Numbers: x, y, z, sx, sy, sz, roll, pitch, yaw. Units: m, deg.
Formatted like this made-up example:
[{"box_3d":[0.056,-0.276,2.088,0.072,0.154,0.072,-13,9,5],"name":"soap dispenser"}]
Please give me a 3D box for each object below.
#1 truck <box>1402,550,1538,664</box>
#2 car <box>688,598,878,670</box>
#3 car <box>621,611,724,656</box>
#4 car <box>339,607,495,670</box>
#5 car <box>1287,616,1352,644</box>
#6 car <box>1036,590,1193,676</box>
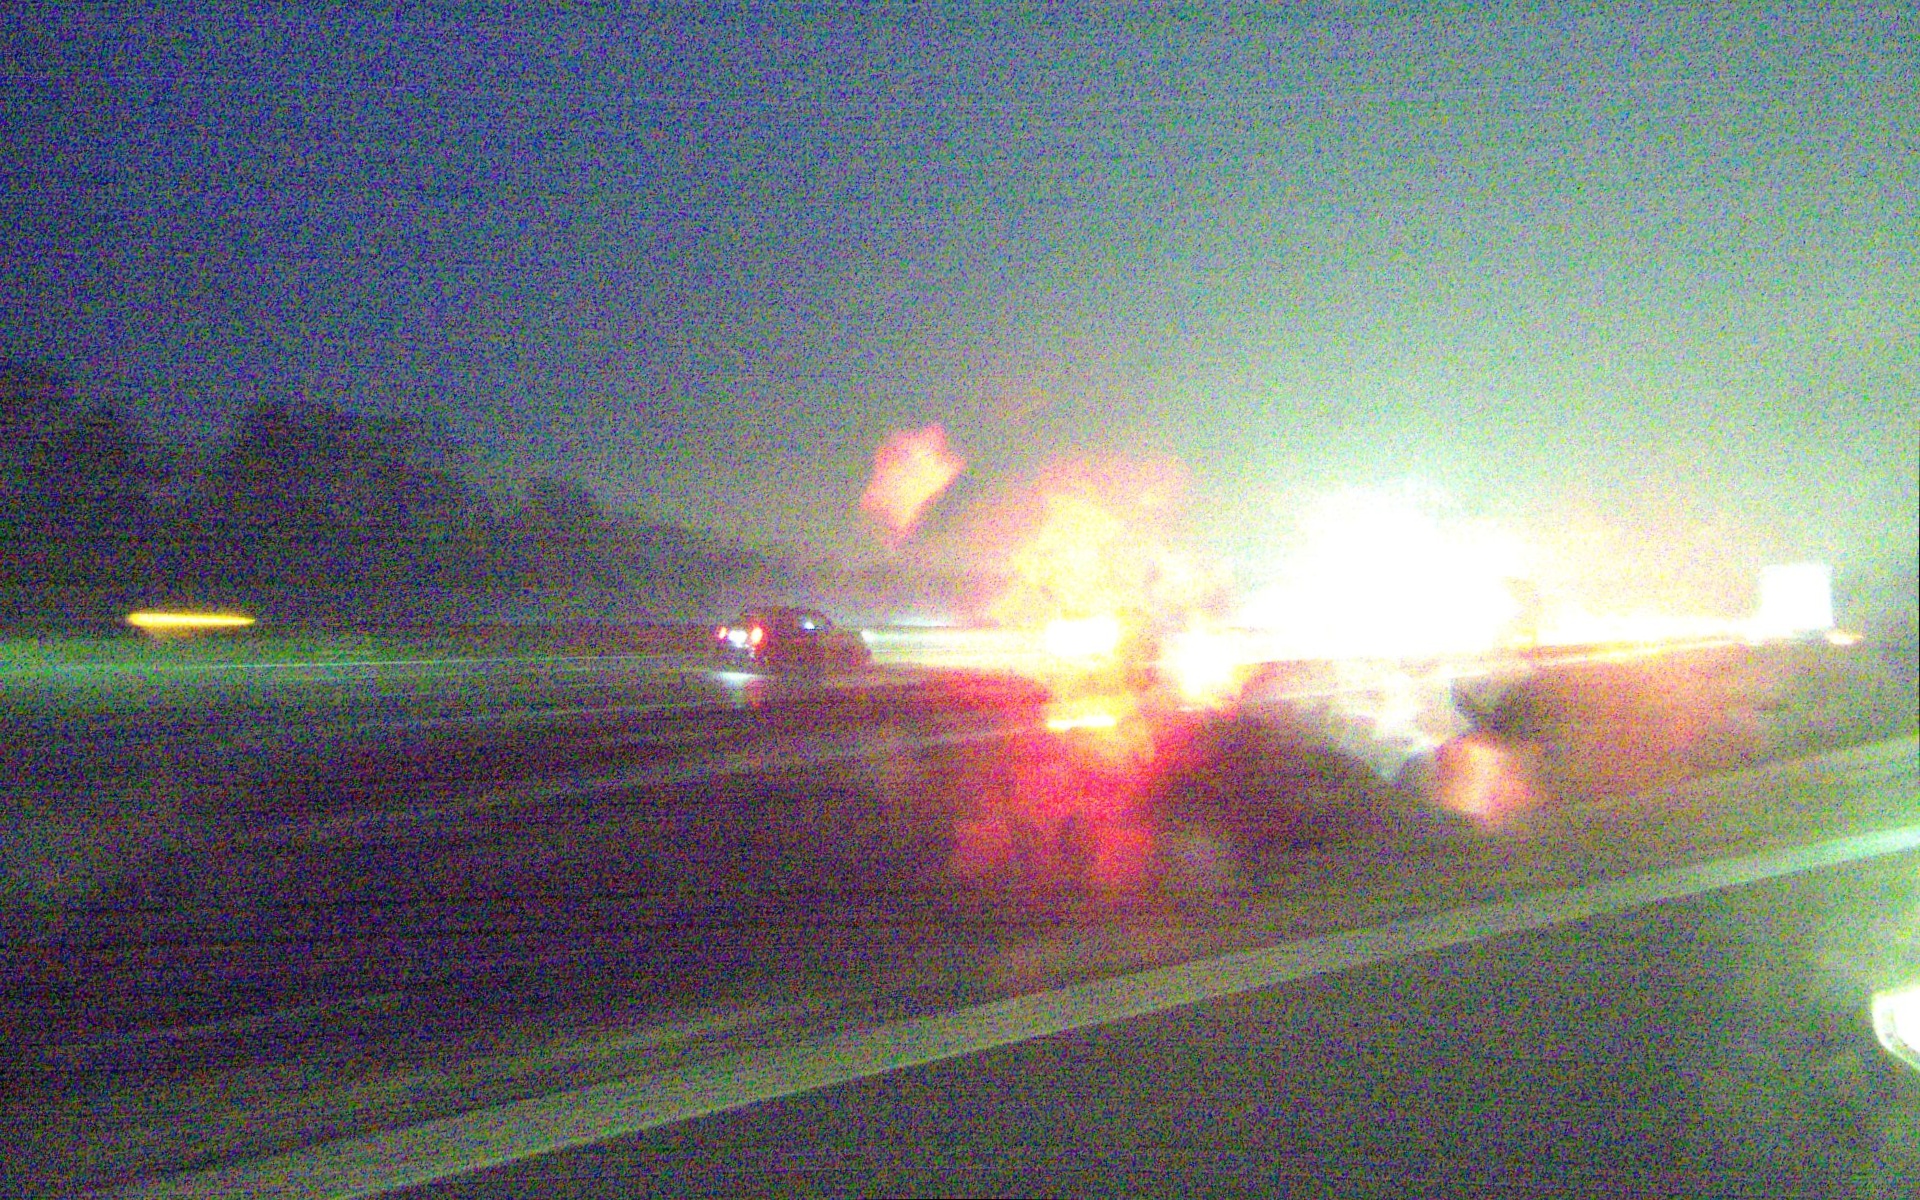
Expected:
[{"box_3d":[28.852,0.464,56.408,4.160,5.723,11.414,2,0,40],"name":"truck"},{"box_3d":[-4.054,0.783,23.428,1.971,1.460,3.980,2,0,41],"name":"car"},{"box_3d":[-12.717,1.471,44.554,1.882,1.831,3.980,2,0,41],"name":"car"},{"box_3d":[-17.426,1.235,32.355,1.882,1.831,3.980,2,0,41],"name":"car"},{"box_3d":[21.419,1.801,59.722,1.970,1.496,5.141,2,0,40],"name":"car"},{"box_3d":[4.211,0.861,26.794,2.100,2.040,4.626,2,0,38],"name":"car"}]
